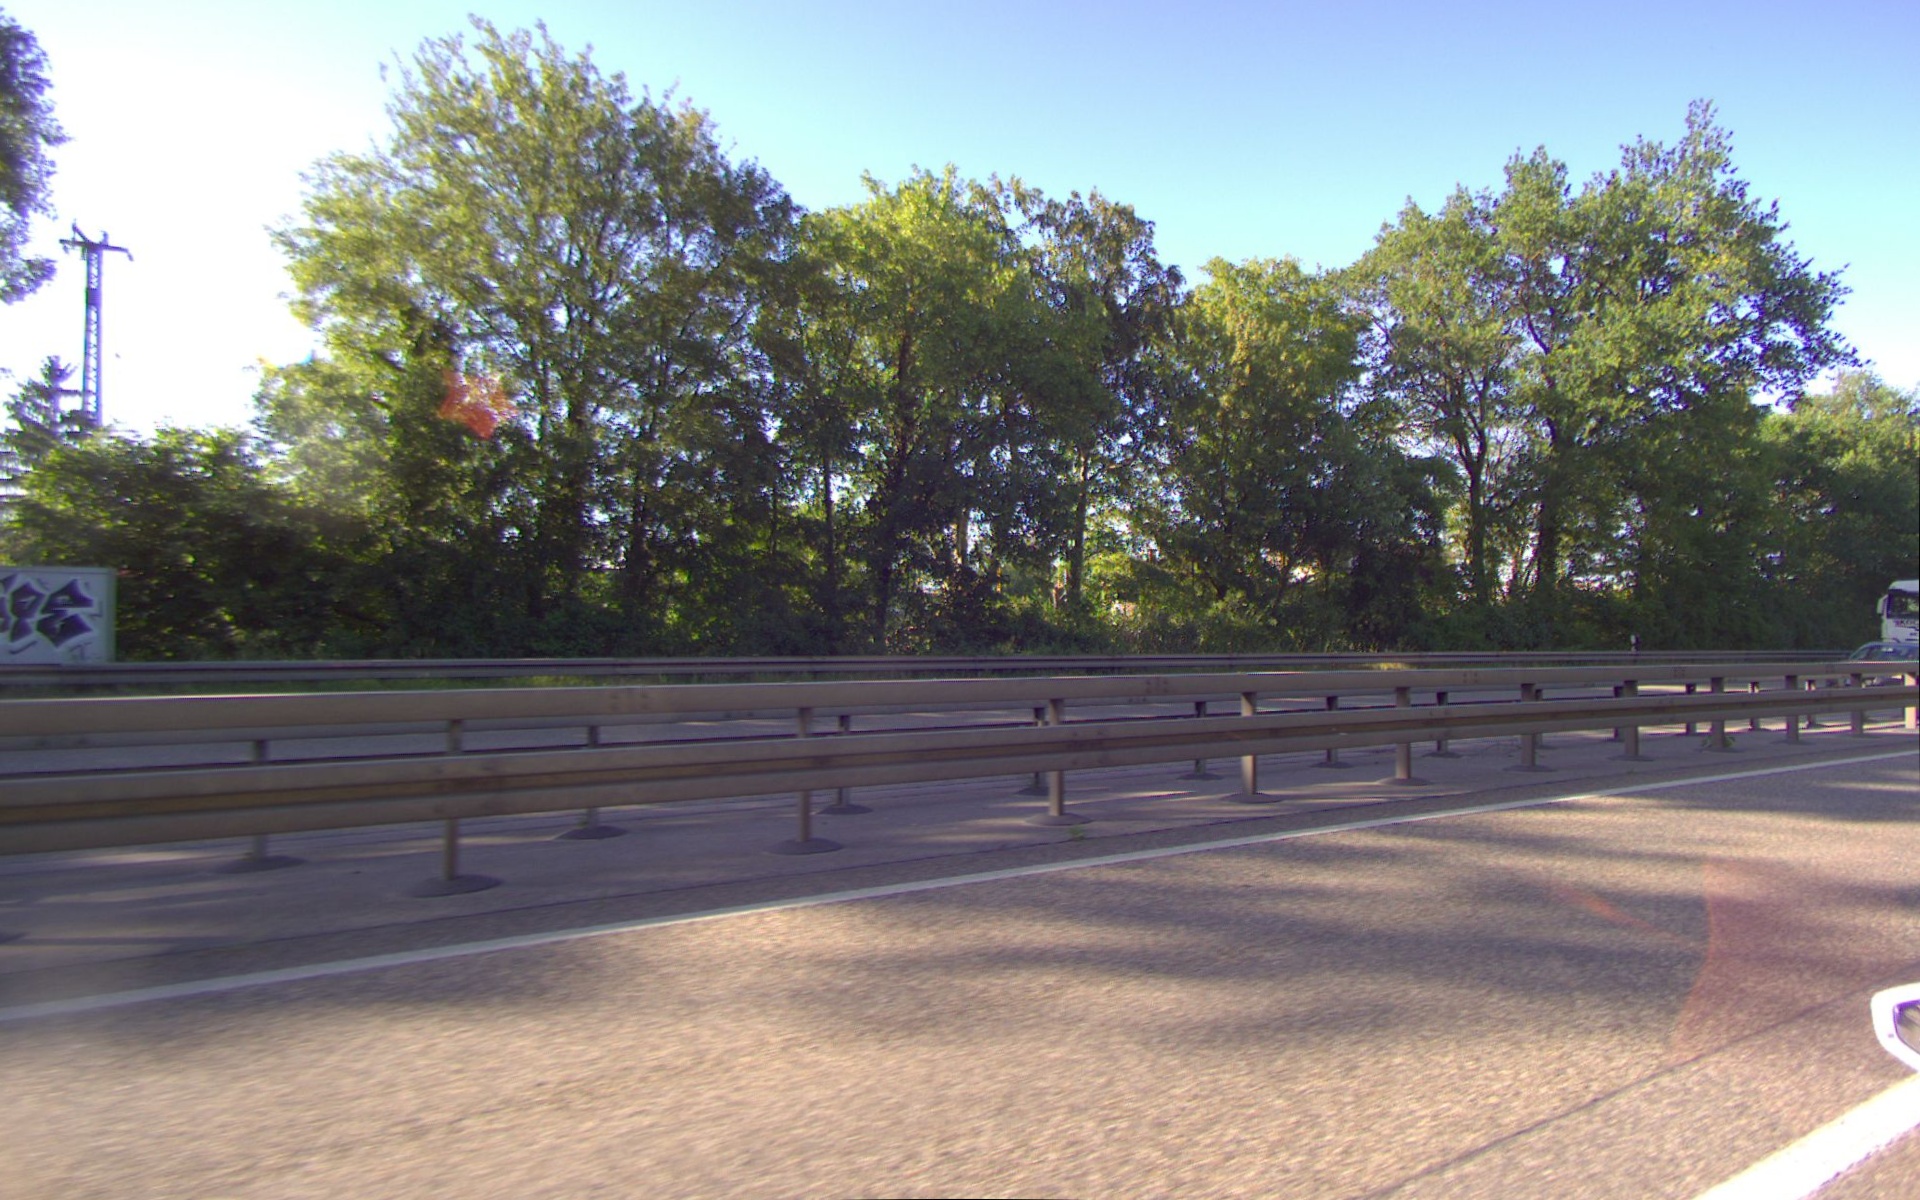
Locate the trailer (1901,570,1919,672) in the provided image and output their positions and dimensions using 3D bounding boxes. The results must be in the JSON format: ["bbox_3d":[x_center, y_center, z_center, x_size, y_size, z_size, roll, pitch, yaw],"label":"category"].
[{"bbox_3d":[43.115,0.905,41.390,10.836,4.050,3.040,1,-1,-28],"label":"trailer"}]

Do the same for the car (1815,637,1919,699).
[{"bbox_3d":[24.202,1.717,26.220,4.044,1.486,1.658,1,-2,-30],"label":"car"}]

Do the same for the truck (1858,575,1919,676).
[{"bbox_3d":[37.634,1.001,38.406,6.077,3.678,2.970,1,-1,-28],"label":"truck"}]
